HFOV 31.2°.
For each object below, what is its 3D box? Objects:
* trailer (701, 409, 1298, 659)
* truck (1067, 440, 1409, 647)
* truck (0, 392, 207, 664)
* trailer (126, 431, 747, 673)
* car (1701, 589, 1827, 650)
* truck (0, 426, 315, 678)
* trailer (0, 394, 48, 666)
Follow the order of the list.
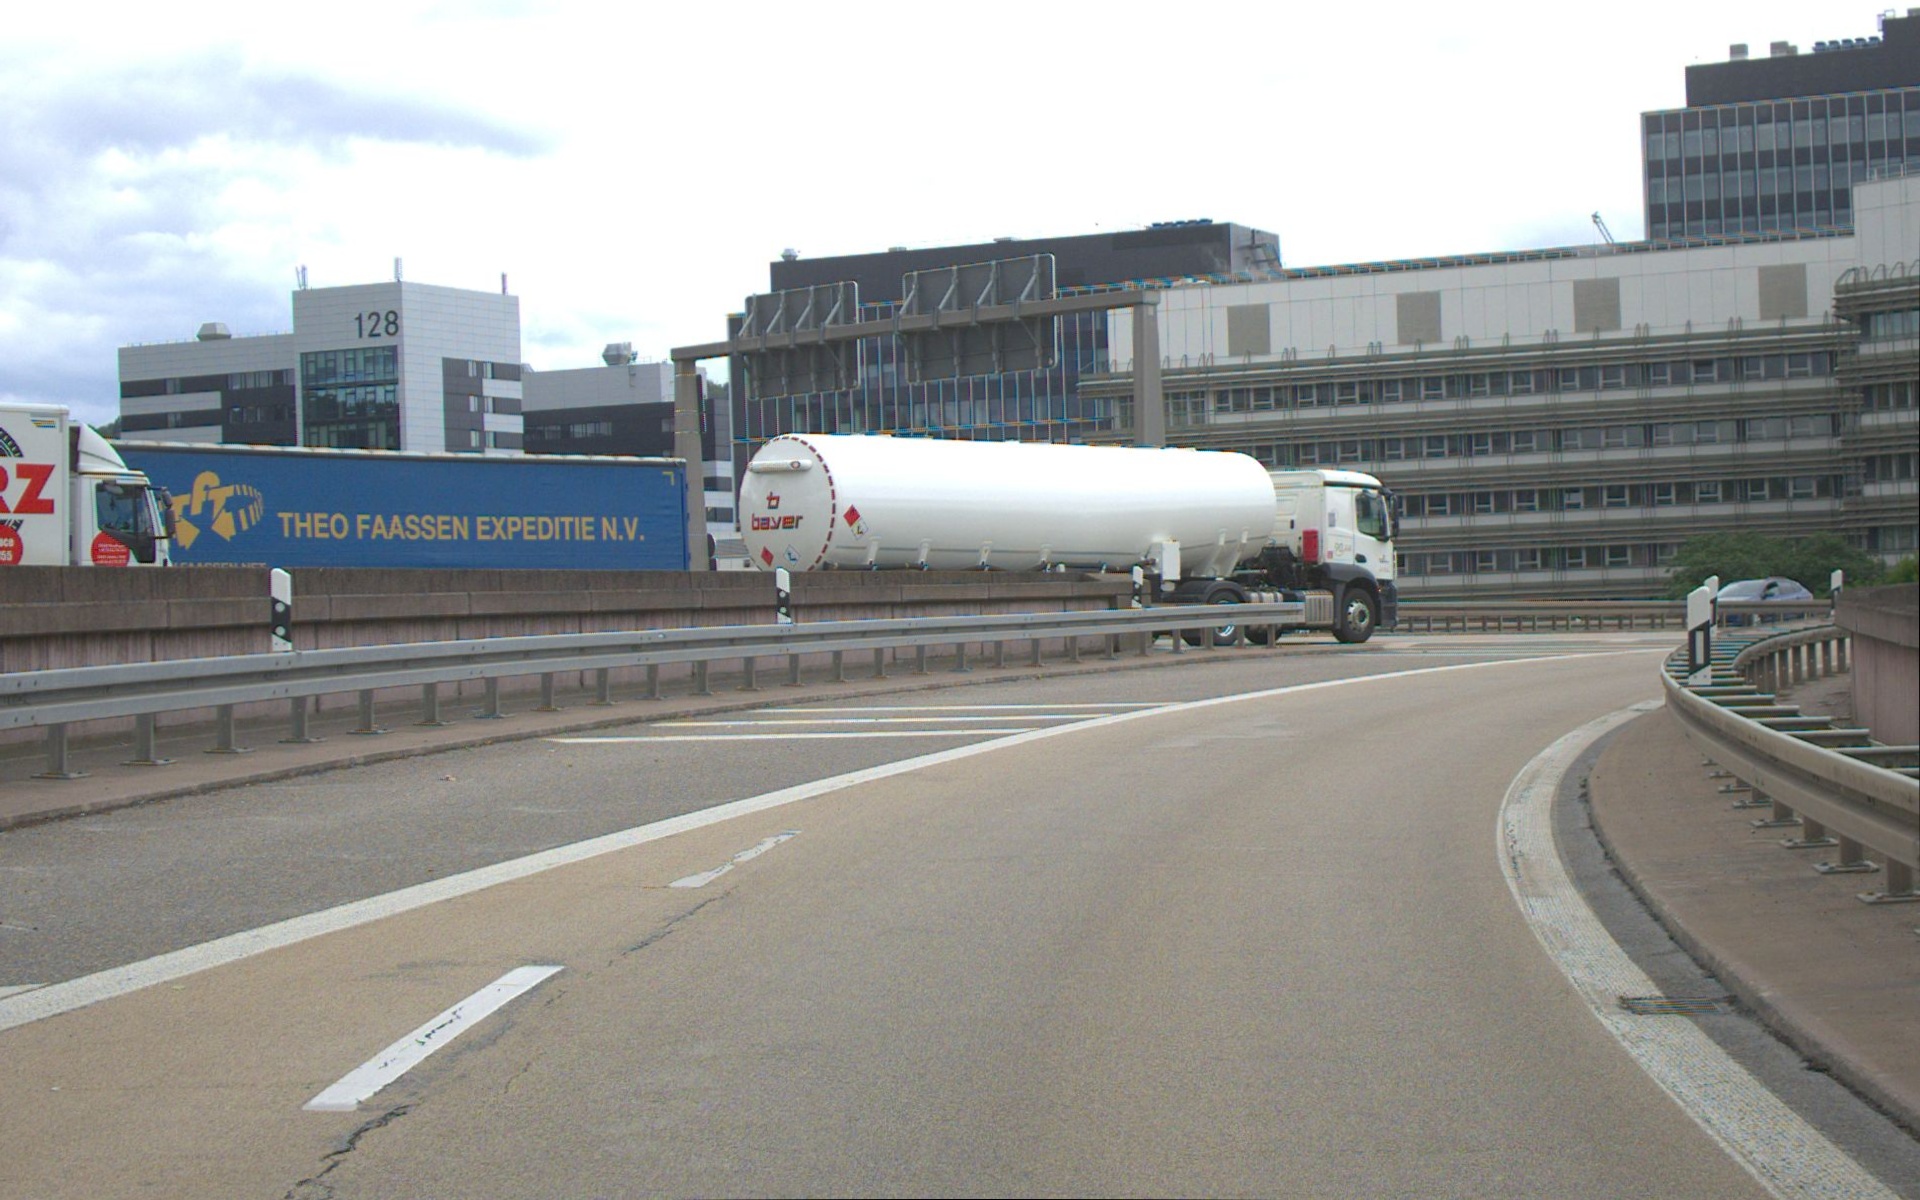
[{"bbox_3d":[0.905,-1.041,56.391,2.799,3.725,11.126,-2,-1,45],"label":"trailer"},{"bbox_3d":[4.949,-0.968,60.505,2.776,3.419,5.949,-2,-1,44],"label":"truck"},{"bbox_3d":[-13.238,-0.963,48.190,2.698,3.678,4.427,-2,-1,45],"label":"truck"},{"bbox_3d":[-9.943,-0.921,67.232,12.484,4.332,3.169,-1,-1,-45],"label":"trailer"},{"bbox_3d":[22.091,0.536,94.412,3.676,1.586,1.649,-1,0,-45],"label":"car"},{"bbox_3d":[-15.014,-0.832,62.204,5.679,4.332,3.170,-1,-1,-44],"label":"truck"},{"bbox_3d":[-16.015,-0.890,45.342,2.697,3.678,7.294,-2,-1,44],"label":"trailer"}]
